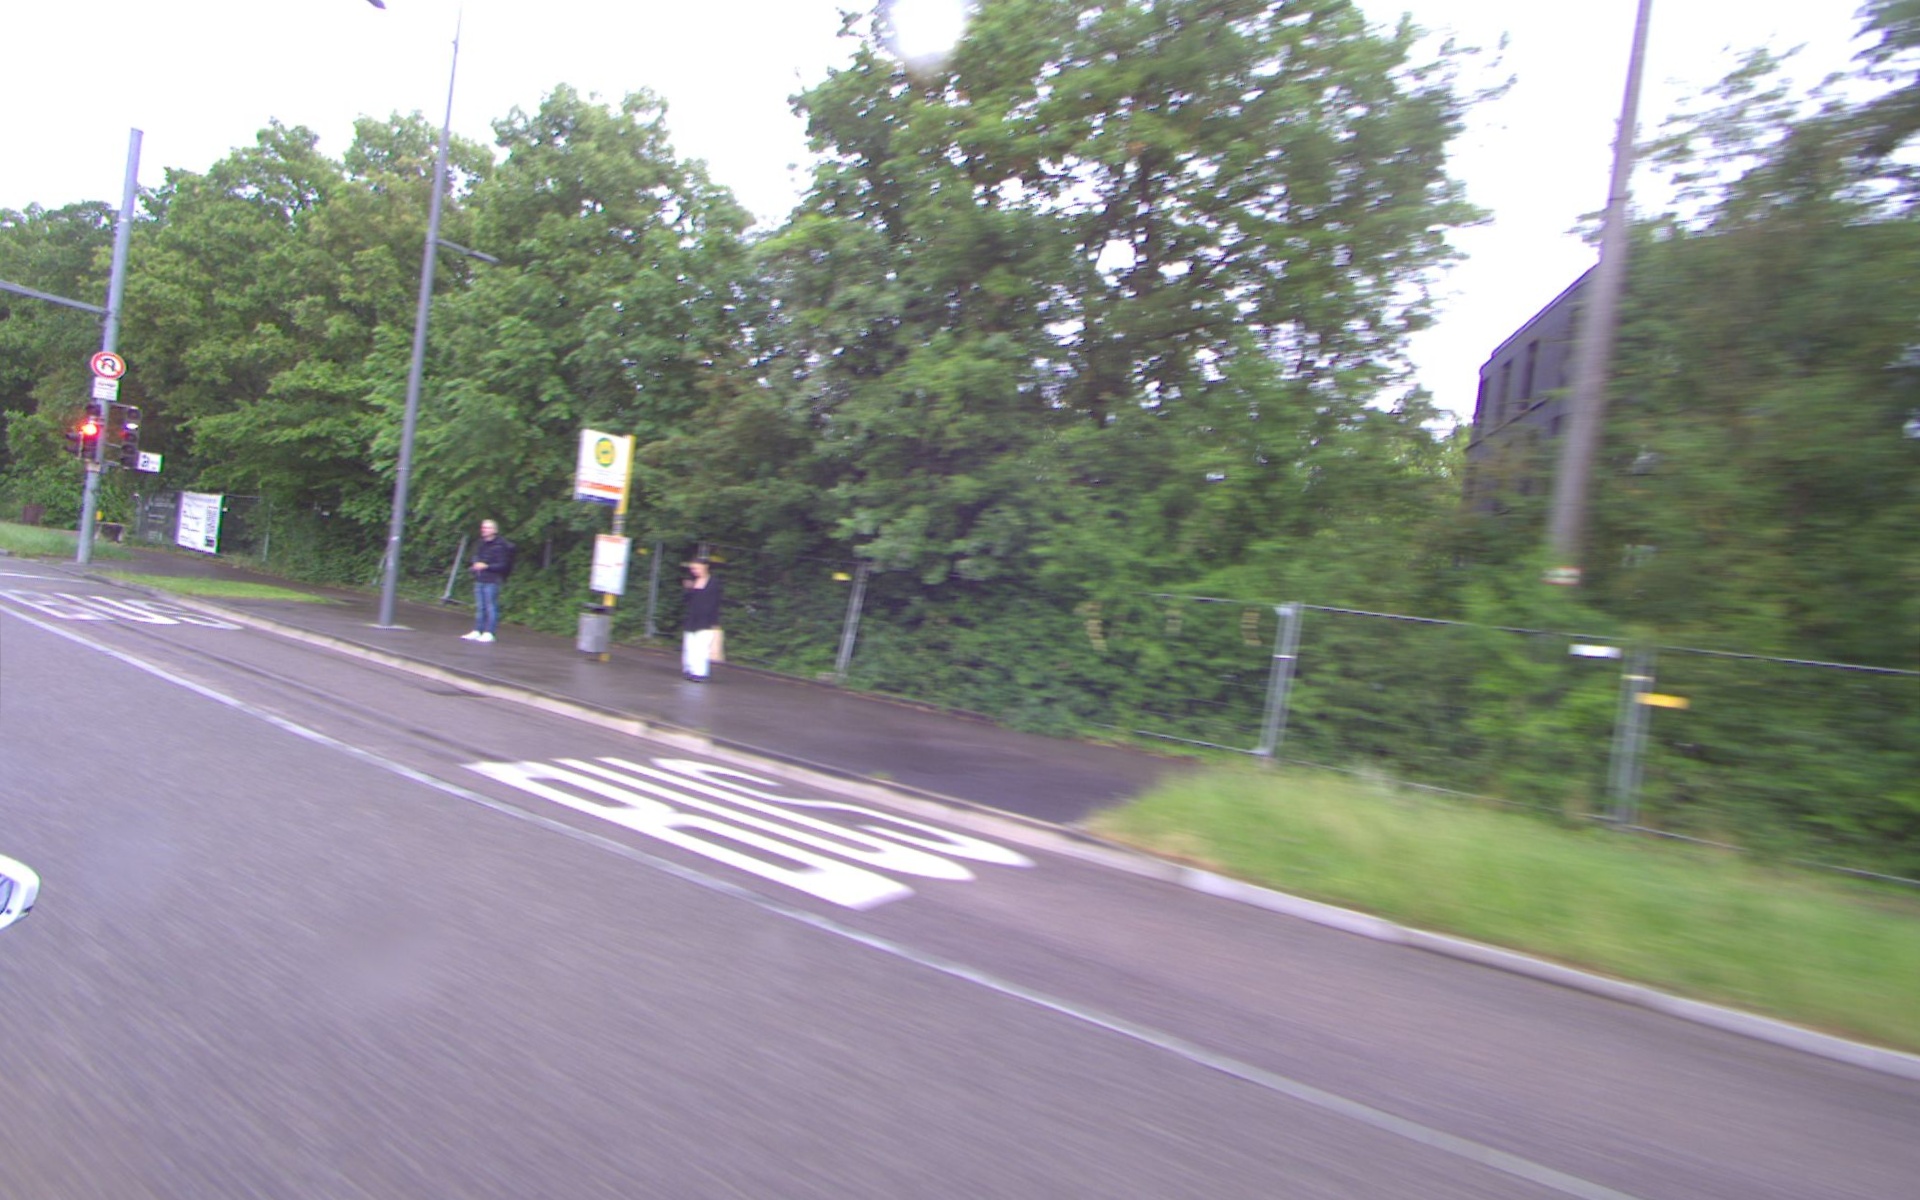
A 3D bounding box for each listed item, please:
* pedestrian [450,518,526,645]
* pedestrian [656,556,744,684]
[{"bbox_3d":[-7.583,-0.291,16.158,0.706,1.925,0.641,7,1,29],"label":"pedestrian"},{"bbox_3d":[-3.634,0.280,14.087,0.779,1.679,0.676,7,1,29],"label":"pedestrian"}]
